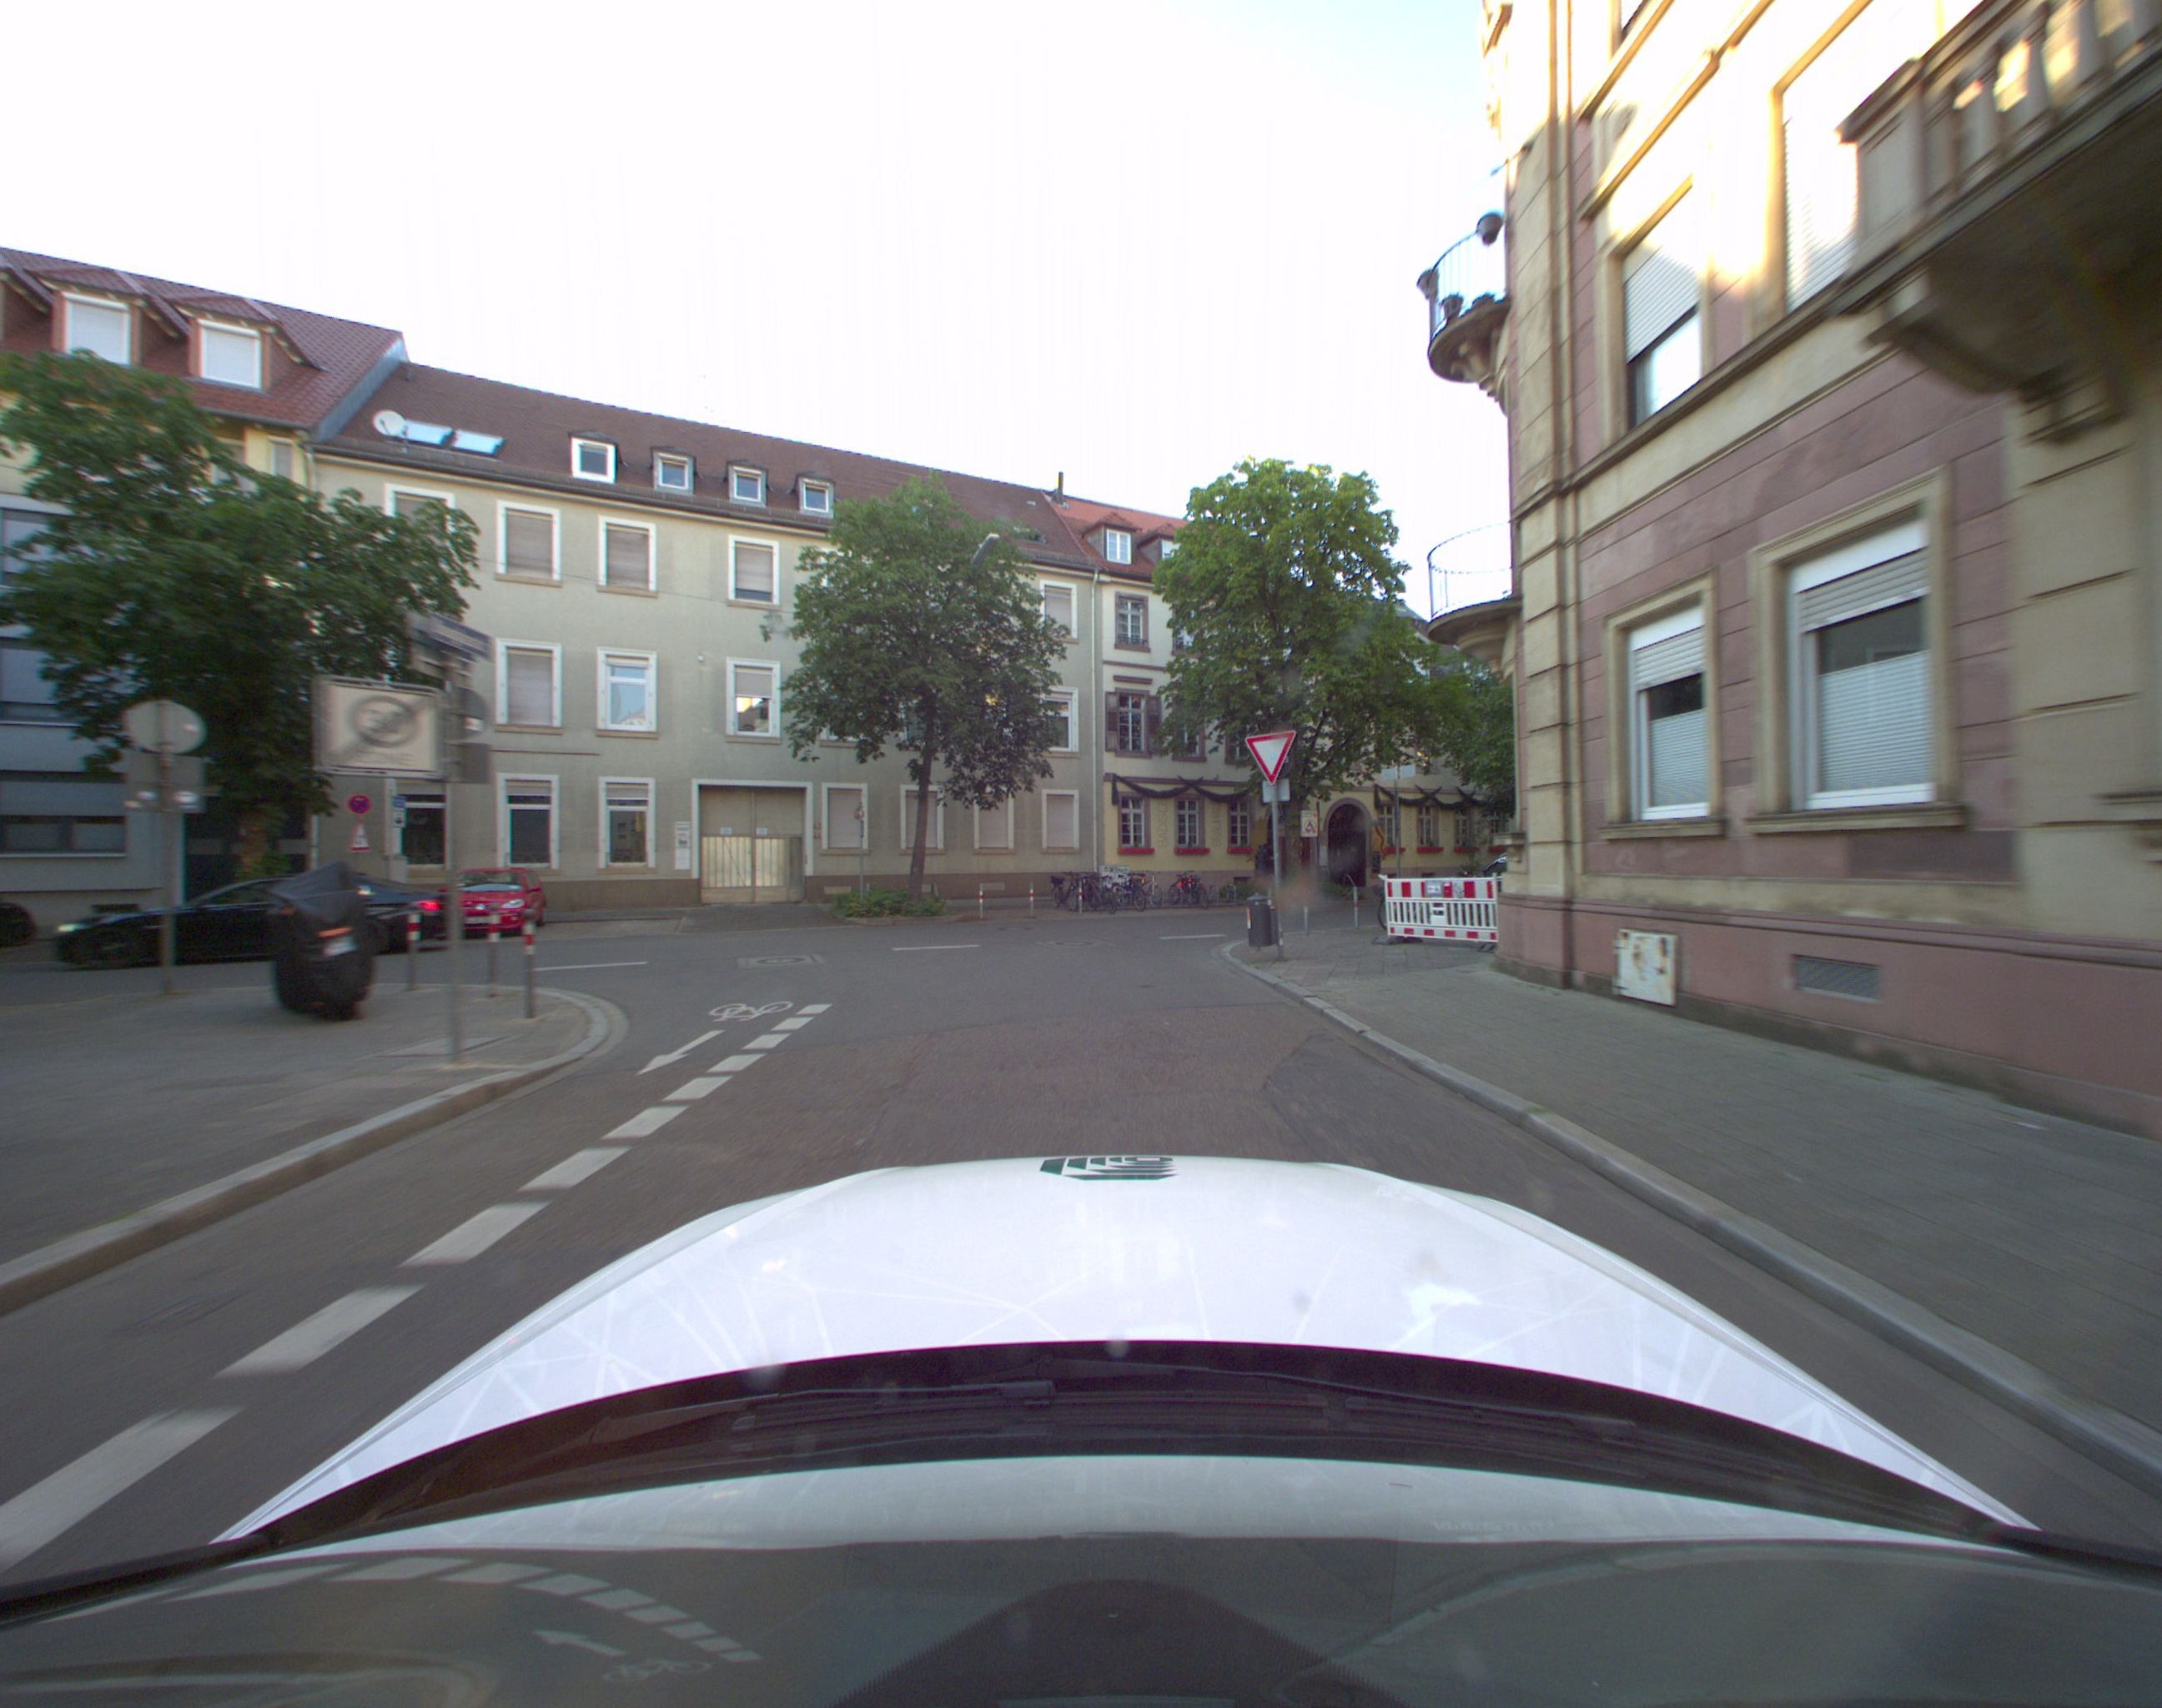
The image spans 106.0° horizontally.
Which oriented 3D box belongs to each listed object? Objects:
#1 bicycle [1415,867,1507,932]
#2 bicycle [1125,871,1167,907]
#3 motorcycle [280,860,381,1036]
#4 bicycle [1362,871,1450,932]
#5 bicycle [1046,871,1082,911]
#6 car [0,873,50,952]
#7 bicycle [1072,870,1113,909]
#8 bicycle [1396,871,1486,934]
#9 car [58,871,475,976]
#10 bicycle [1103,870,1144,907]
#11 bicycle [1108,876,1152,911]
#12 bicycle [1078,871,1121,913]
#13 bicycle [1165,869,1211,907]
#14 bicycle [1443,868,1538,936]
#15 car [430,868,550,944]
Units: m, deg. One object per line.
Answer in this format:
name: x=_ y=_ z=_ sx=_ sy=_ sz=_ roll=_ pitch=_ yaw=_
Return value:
bicycle: x=7.036 y=0.817 z=15.048 sx=1.873 sy=1.089 sz=0.361 roll=-2 pitch=-2 yaw=-24
bicycle: x=2.096 y=1.117 z=26.522 sx=0.422 sy=1.145 sz=2.025 roll=-1 pitch=-1 yaw=-25
motorcycle: x=-7.594 y=0.854 z=8.203 sx=0.673 sy=1.555 sz=2.135 roll=0 pitch=-1 yaw=-45
bicycle: x=6.466 y=0.926 z=16.172 sx=1.873 sy=1.089 sz=0.361 roll=-2 pitch=-2 yaw=-24
bicycle: x=-0.536 y=1.121 z=25.187 sx=0.446 sy=1.145 sz=2.028 roll=-1 pitch=-1 yaw=-21
car: x=-21.036 y=1.164 z=14.725 sx=1.632 sy=1.427 sz=3.681 roll=-1 pitch=2 yaw=-29
bicycle: x=0.336 y=1.088 z=25.598 sx=0.422 sy=1.145 sz=2.025 roll=-1 pitch=-1 yaw=-25
bicycle: x=6.927 y=0.916 z=15.643 sx=1.873 sy=1.089 sz=0.361 roll=-2 pitch=-2 yaw=-24
car: x=-13.389 y=1.058 z=13.867 sx=4.679 sy=1.450 sz=1.752 roll=-1 pitch=-1 yaw=-28
bicycle: x=1.353 y=1.088 z=26.251 sx=0.422 sy=1.145 sz=2.025 roll=-1 pitch=-1 yaw=-25
bicycle: x=1.468 y=1.180 z=24.800 sx=0.422 sy=1.004 sz=2.025 roll=-1 pitch=-1 yaw=-25
bicycle: x=0.514 y=1.092 z=23.965 sx=0.447 sy=1.145 sz=2.026 roll=-1 pitch=-1 yaw=-23
bicycle: x=3.398 y=1.058 z=26.028 sx=0.422 sy=1.145 sz=2.025 roll=-1 pitch=-1 yaw=-25
bicycle: x=7.290 y=0.835 z=14.490 sx=1.873 sy=1.089 sz=0.361 roll=-2 pitch=-2 yaw=-24
car: x=-13.225 y=1.080 z=18.422 sx=1.569 sy=1.475 sz=3.636 roll=-1 pitch=0 yaw=-26
